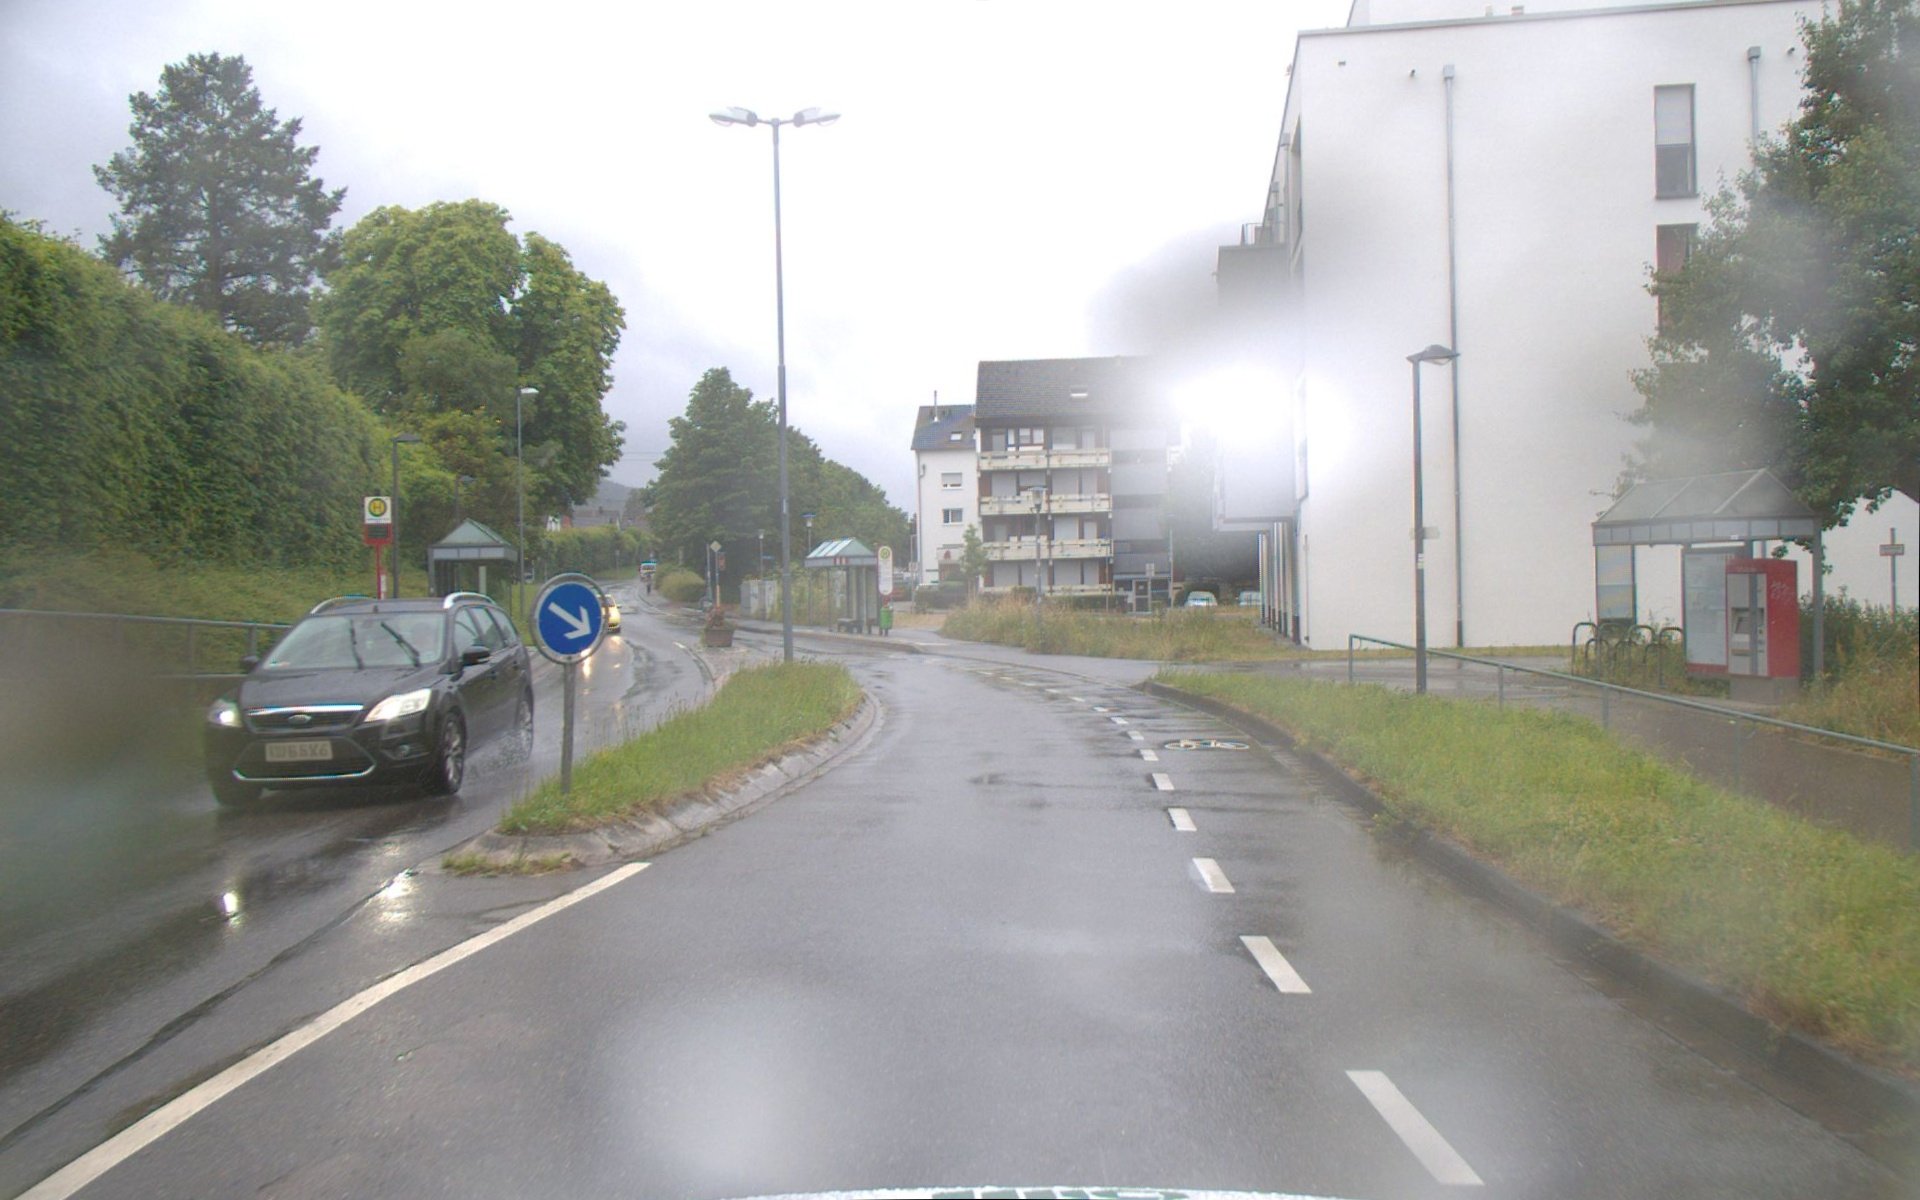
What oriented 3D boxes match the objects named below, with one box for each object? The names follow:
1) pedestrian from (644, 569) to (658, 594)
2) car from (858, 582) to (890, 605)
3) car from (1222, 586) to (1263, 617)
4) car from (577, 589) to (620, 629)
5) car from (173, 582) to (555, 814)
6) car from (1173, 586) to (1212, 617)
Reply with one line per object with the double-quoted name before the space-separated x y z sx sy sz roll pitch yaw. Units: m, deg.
"pedestrian" -22.233 -1.341 119.063 0.904 1.704 1.054 -3 2 -14
"car" -6.245 -0.478 119.573 1.660 1.463 3.600 -1 2 -14
"car" 14.299 0.103 83.911 1.680 1.466 3.708 0 -2 4
"car" -14.250 0.326 65.283 1.545 1.435 3.464 -3 1 -12
"car" -4.614 0.663 13.477 1.725 1.529 4.139 -2 0 -3
"car" 11.810 0.089 84.266 1.680 1.466 3.708 0 -2 4
